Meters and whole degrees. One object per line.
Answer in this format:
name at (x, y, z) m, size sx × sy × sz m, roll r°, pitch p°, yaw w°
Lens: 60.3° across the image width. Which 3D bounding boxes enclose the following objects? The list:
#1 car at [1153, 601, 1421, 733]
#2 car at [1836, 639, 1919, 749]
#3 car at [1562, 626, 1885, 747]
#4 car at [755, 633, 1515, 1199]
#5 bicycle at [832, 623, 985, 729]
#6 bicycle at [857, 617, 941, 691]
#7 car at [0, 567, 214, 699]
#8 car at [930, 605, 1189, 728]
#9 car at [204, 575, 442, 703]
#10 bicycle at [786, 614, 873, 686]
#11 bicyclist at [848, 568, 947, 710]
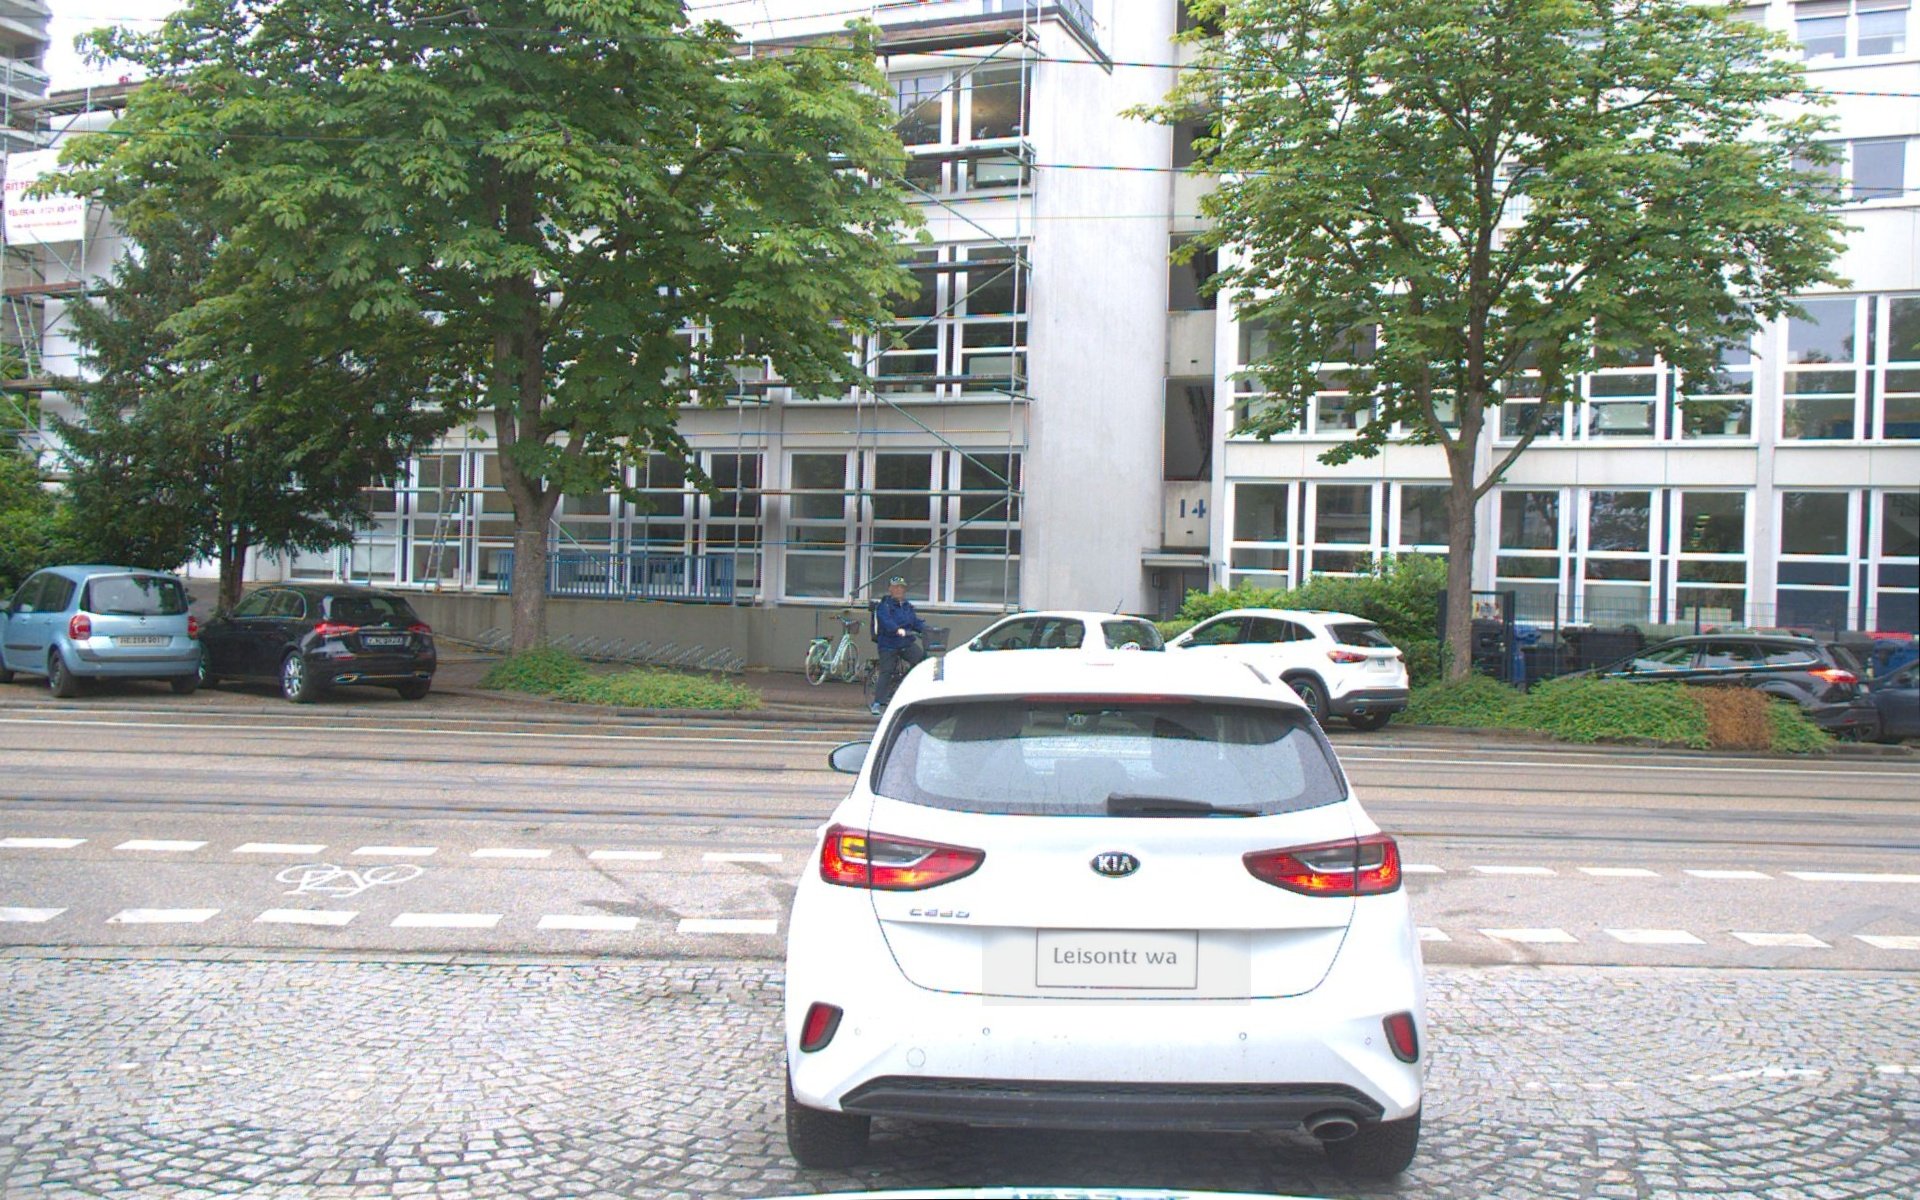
car at (4.458, 0.863, 22.831) m, size 1.545 × 1.646 × 3.352 m, roll 1°, pitch 0°, yaw -44°
car at (14.258, 1.335, 23.108) m, size 3.331 × 1.499 × 1.407 m, roll 1°, pitch 0°, yaw 43°
car at (10.795, 1.158, 23.511) m, size 3.881 × 1.499 × 1.665 m, roll 1°, pitch 0°, yaw 40°
car at (0.482, 0.866, 5.810) m, size 1.738 × 1.458 × 3.979 m, roll 1°, pitch -1°, yaw 2°
bicycle at (-0.662, 0.921, 20.632) m, size 1.883 × 1.194 × 0.816 m, roll 2°, pitch 0°, yaw 44°
bicycle at (-1.017, 0.896, 28.282) m, size 0.631 × 1.093 × 2.313 m, roll 2°, pitch 2°, yaw 19°
car at (-11.199, 0.381, 21.471) m, size 3.279 × 1.564 × 1.608 m, roll 1°, pitch 0°, yaw 43°
car at (1.293, 0.845, 22.403) m, size 1.545 × 1.499 × 3.352 m, roll 1°, pitch 0°, yaw -44°
car at (-8.341, 0.466, 21.561) m, size 3.279 × 1.537 × 1.608 m, roll 1°, pitch 0°, yaw 43°
bicycle at (-2.243, 0.841, 28.755) m, size 0.631 × 1.093 × 2.313 m, roll 2°, pitch 2°, yaw 19°
bicyclist at (-0.788, 0.481, 20.780) m, size 0.882 × 1.727 × 0.828 m, roll 1°, pitch 0°, yaw 44°
